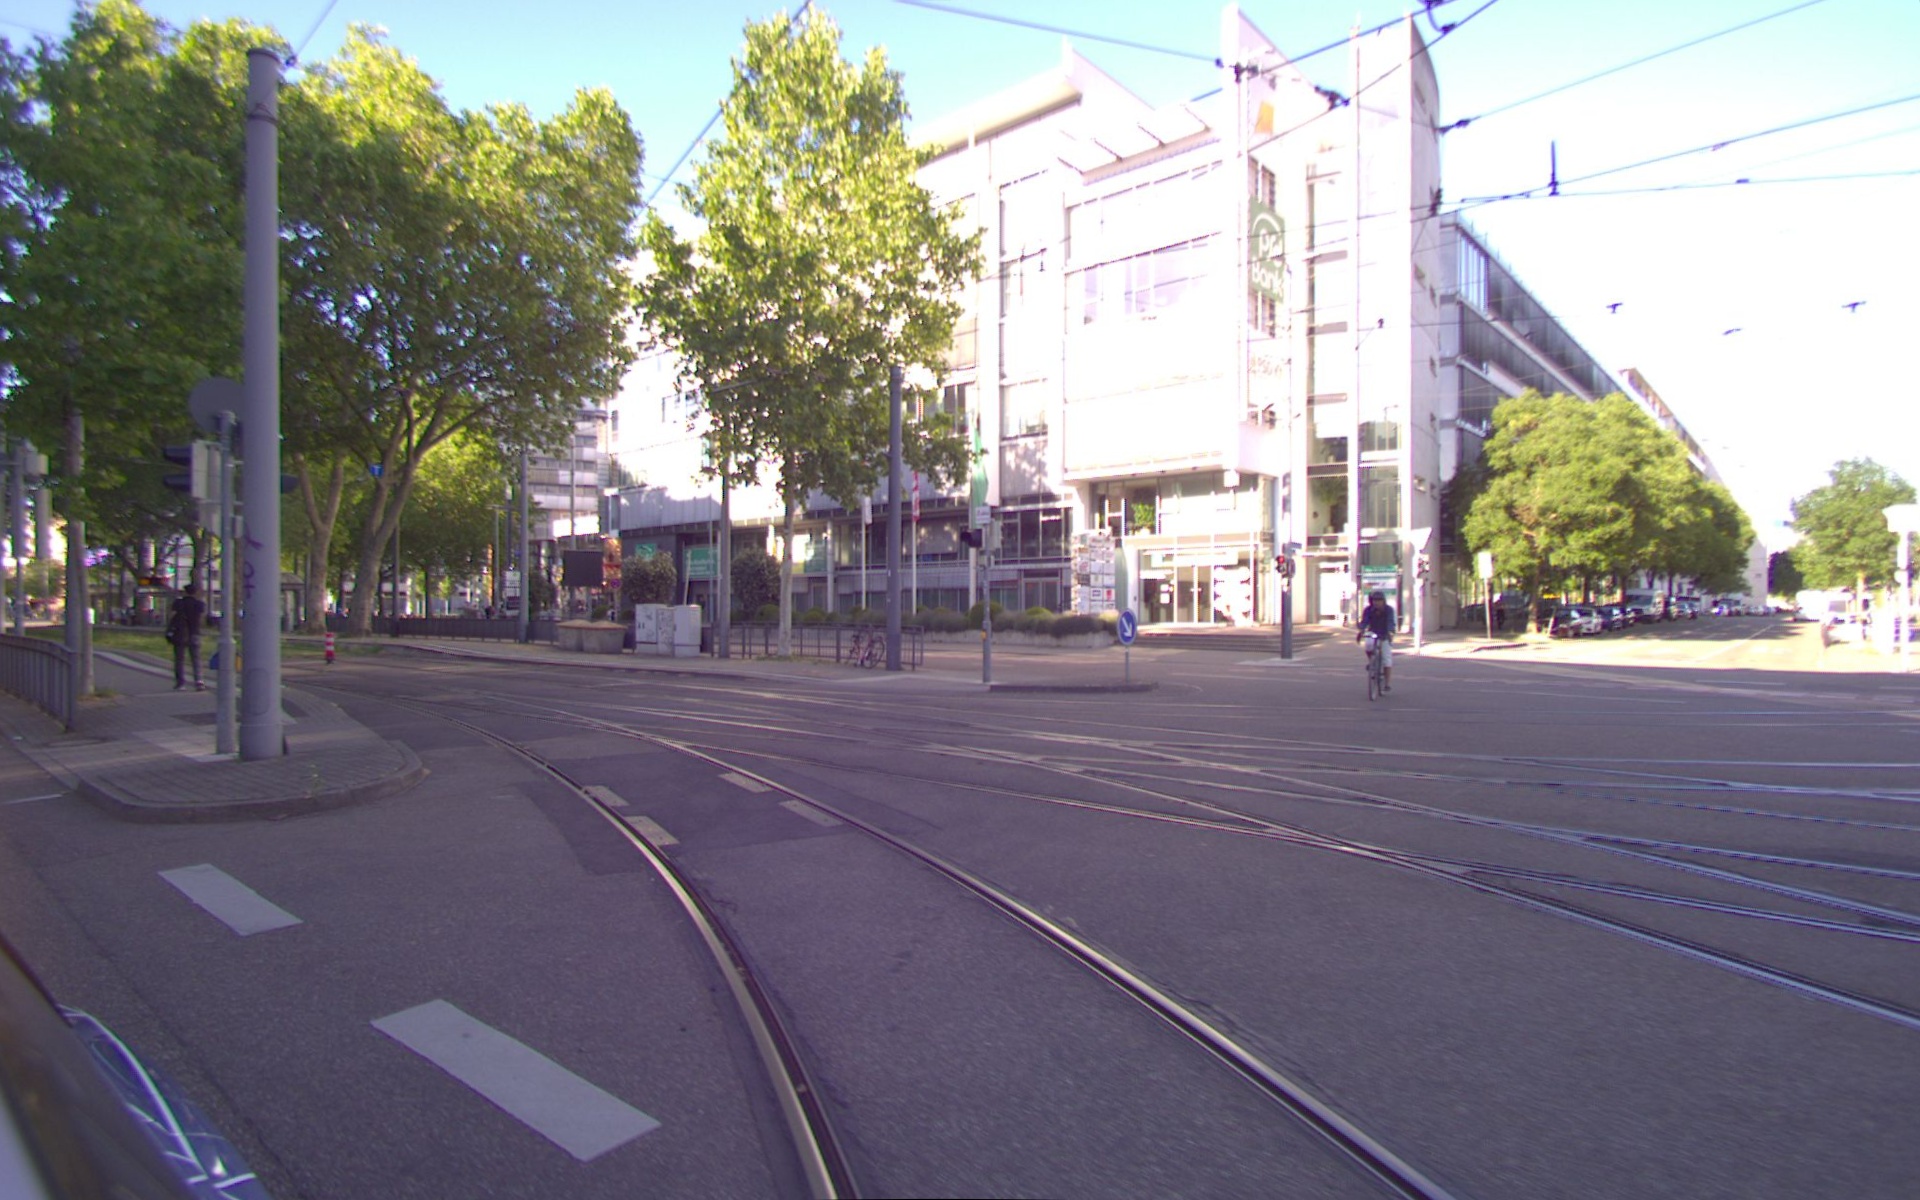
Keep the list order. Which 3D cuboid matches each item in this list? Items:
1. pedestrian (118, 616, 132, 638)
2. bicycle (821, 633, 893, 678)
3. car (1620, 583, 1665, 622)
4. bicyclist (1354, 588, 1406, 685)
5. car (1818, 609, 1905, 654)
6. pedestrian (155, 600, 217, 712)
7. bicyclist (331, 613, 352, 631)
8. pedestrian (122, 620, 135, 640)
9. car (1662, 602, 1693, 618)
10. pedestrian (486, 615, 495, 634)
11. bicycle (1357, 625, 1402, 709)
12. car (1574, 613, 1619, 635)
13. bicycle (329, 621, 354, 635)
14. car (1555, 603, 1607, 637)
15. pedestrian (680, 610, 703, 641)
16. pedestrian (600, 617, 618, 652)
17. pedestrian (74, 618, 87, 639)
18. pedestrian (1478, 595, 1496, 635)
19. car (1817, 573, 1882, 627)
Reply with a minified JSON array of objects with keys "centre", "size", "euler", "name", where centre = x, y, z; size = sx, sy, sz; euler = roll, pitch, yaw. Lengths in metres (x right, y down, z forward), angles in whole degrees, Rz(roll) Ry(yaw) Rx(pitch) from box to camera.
[{"centre":[-64.011,2.037,77.566],"size":[0.667,1.654,0.662],"euler":[0,0,30],"name":"pedestrian"},{"centre":[-2.388,1.262,23.332],"size":[0.803,0.953,1.728],"euler":[0,-1,-42],"name":"bicycle"},{"centre":[47.681,0.176,70.686],"size":[2.230,2.674,5.063],"euler":[0,0,38],"name":"car"},{"centre":[6.723,0.563,16.184],"size":[0.719,1.505,0.875],"euler":[-1,0,25],"name":"bicyclist"},{"centre":[35.974,1.206,40.493],"size":[2.103,1.710,3.924],"euler":[-1,-1,34],"name":"car"},{"centre":[-12.577,0.882,16.441],"size":[0.725,1.760,0.712],"euler":[0,-1,-44],"name":"pedestrian"},{"centre":[-46.317,1.643,75.784],"size":[1.373,1.259,0.994],"euler":[-1,0,40],"name":"bicyclist"},{"centre":[-62.381,2.258,75.923],"size":[0.549,1.508,0.548],"euler":[-1,-1,30],"name":"pedestrian"},{"centre":[61.997,0.831,87.424],"size":[1.998,1.356,3.948],"euler":[0,0,38],"name":"car"},{"centre":[-40.966,2.127,88.259],"size":[0.571,1.616,0.580],"euler":[0,-1,-43],"name":"pedestrian"},{"centre":[6.705,1.025,16.137],"size":[0.587,1.198,2.026],"euler":[0,0,24],"name":"bicycle"},{"centre":[36.808,1.350,58.524],"size":[1.807,1.198,3.750],"euler":[0,0,38],"name":"car"},{"centre":[-46.343,2.129,75.773],"size":[2.583,1.004,0.792],"euler":[-1,0,40],"name":"bicycle"},{"centre":[32.173,0.991,52.352],"size":[1.734,1.666,3.900],"euler":[0,0,40],"name":"car"},{"centre":[-14.022,1.335,52.790],"size":[0.767,1.604,0.896],"euler":[-1,-1,41],"name":"pedestrian"},{"centre":[-19.929,1.956,57.469],"size":[0.833,1.991,0.599],"euler":[-1,0,40],"name":"pedestrian"},{"centre":[-74.411,2.392,85.619],"size":[0.674,1.767,0.649],"euler":[-1,-1,34],"name":"pedestrian"},{"centre":[27.058,0.762,51.960],"size":[0.618,2.029,0.640],"euler":[0,-1,-45],"name":"pedestrian"},{"centre":[44.249,0.002,50.423],"size":[2.180,2.524,4.344],"euler":[0,0,38],"name":"car"}]
